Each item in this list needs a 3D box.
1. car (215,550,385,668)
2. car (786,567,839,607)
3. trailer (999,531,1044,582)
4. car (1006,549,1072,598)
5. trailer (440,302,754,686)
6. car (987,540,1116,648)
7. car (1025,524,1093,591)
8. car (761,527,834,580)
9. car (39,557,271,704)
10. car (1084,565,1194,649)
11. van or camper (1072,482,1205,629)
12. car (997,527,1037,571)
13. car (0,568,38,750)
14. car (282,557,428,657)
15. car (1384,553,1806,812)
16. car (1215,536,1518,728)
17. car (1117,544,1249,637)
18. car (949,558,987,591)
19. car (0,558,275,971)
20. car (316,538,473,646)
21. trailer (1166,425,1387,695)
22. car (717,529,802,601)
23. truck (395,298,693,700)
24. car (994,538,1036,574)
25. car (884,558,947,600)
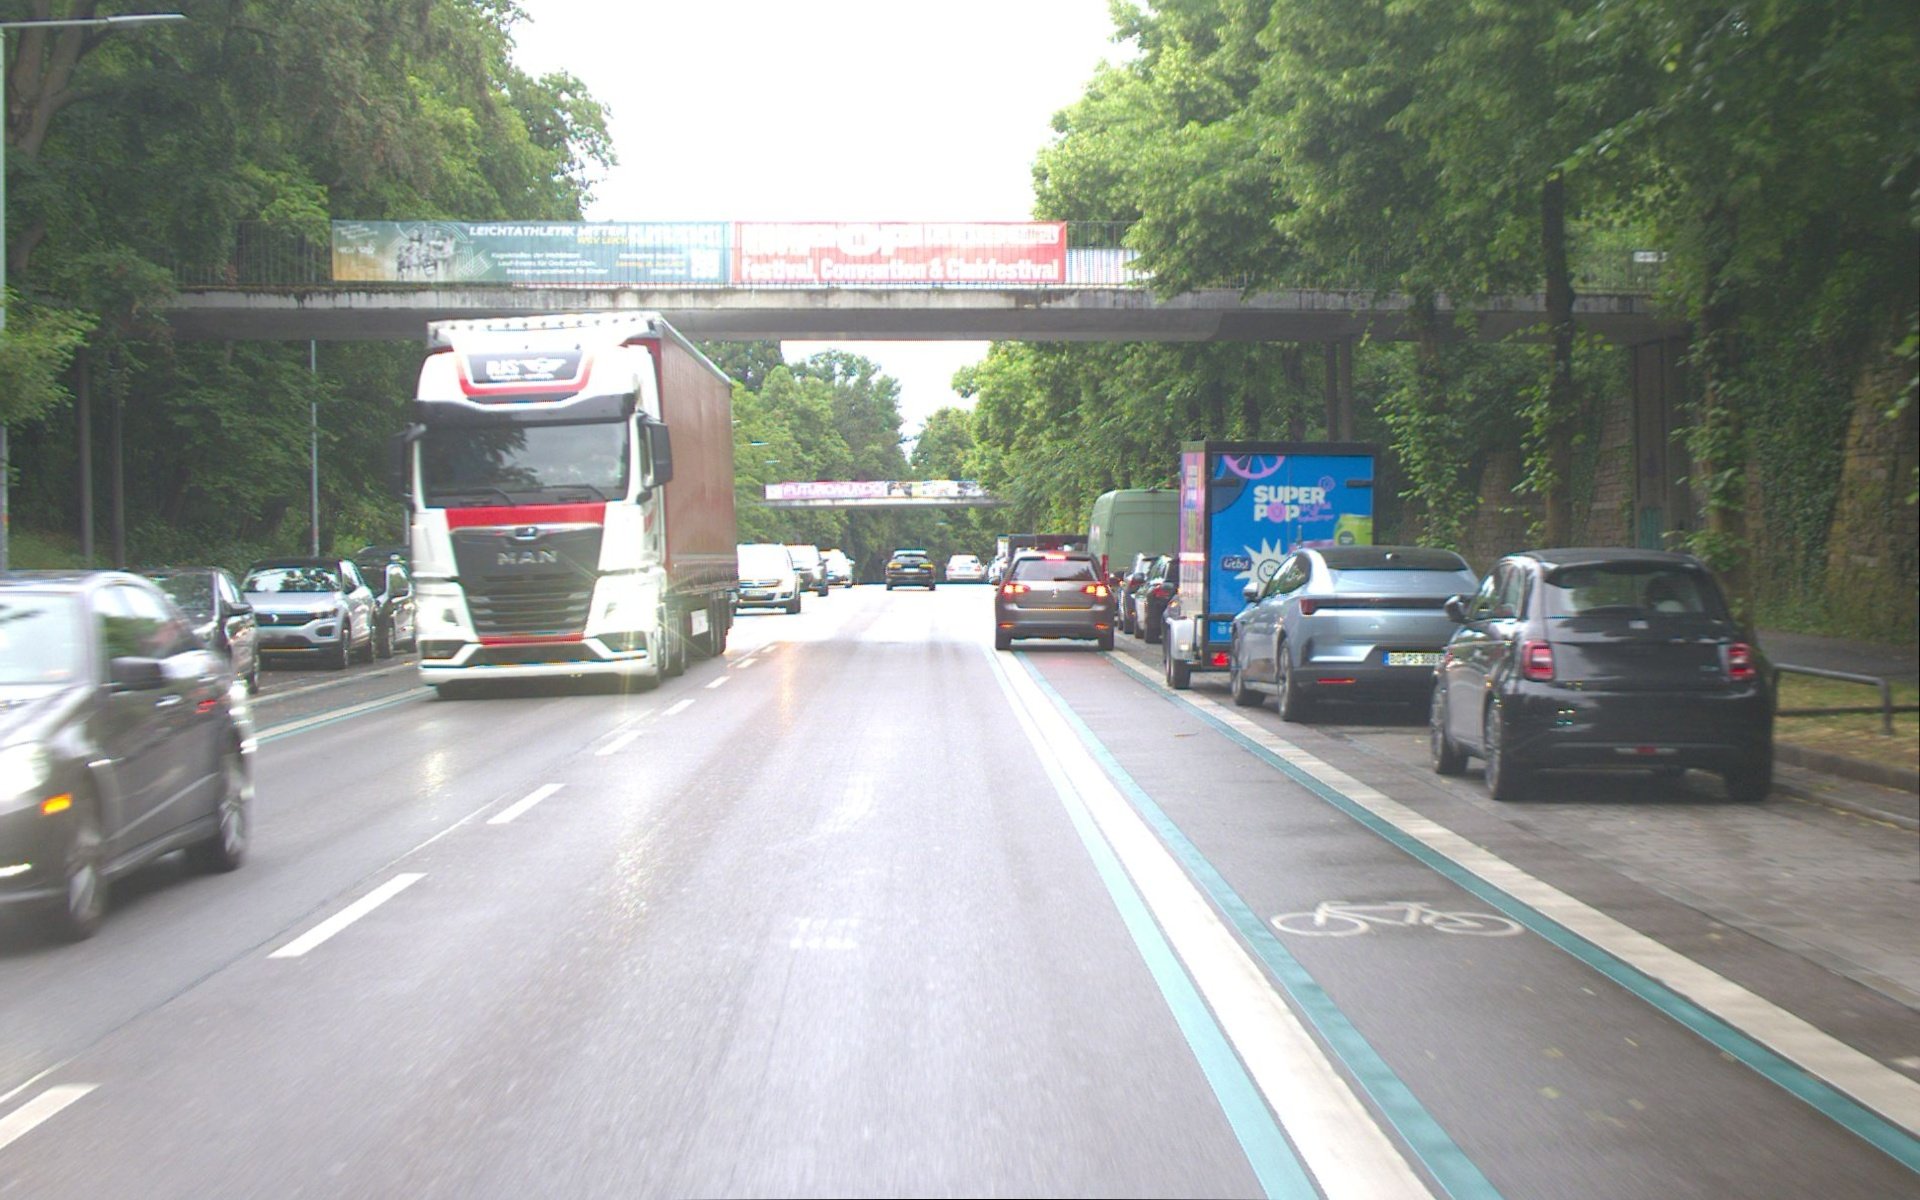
[{"bbox_3d":[-9.330,0.090,48.883,1.687,1.541,4.233,0,1,-1],"label":"car"},{"bbox_3d":[-5.890,-0.532,137.741,1.921,1.555,4.621,1,1,0],"label":"car"},{"bbox_3d":[2.672,-1.908,150.805,1.884,2.158,3.808,-1,1,0],"label":"trailer"},{"bbox_3d":[2.562,-0.880,112.544,1.789,1.537,4.890,1,1,-2],"label":"car"},{"bbox_3d":[-4.505,-1.312,45.416,2.687,4.244,12.770,-3,1,0],"label":"trailer"},{"bbox_3d":[1.317,-0.121,50.936,1.818,1.503,4.139,-1,1,0],"label":"car"},{"bbox_3d":[3.075,-1.327,107.632,1.926,2.015,4.664,1,1,0],"label":"car"},{"bbox_3d":[-5.170,-1.501,109.843,1.966,1.622,4.321,-1,1,2],"label":"car"},{"bbox_3d":[-8.846,0.294,38.098,1.831,1.472,4.041,-1,1,-3],"label":"car"},{"bbox_3d":[3.139,0.104,60.983,1.686,1.411,4.100,1,1,0],"label":"car"},{"bbox_3d":[3.469,-0.897,67.963,2.042,2.720,6.901,1,1,-1],"label":"van or camper"},{"bbox_3d":[2.778,-2.508,167.612,1.889,2.120,4.045,0,1,1],"label":"car"},{"bbox_3d":[-8.781,0.523,27.645,1.789,1.477,3.983,-1,1,-2],"label":"car"},{"bbox_3d":[-9.372,0.080,53.458,1.609,1.434,3.844,0,1,0],"label":"car"},{"bbox_3d":[3.994,0.449,22.381,1.825,1.498,4.571,0,1,-1],"label":"car"},{"bbox_3d":[3.583,0.225,31.172,1.899,1.542,4.756,1,1,-3],"label":"car"},{"bbox_3d":[3.549,-0.180,55.292,1.686,1.411,4.197,-1,1,-2],"label":"car"},{"bbox_3d":[0.384,-1.241,168.074,1.731,1.578,4.037,-1,1,-1],"label":"car"},{"bbox_3d":[-4.369,0.595,14.619,1.915,1.451,4.620,-2,1,0],"label":"car"},{"bbox_3d":[-9.611,-0.174,58.819,1.990,1.736,4.839,0,1,-1],"label":"car"},{"bbox_3d":[3.354,-0.444,37.110,1.952,2.749,4.007,0,1,-1],"label":"trailer"},{"bbox_3d":[-4.723,-0.844,81.362,1.834,1.661,4.181,0,1,-1],"label":"car"},{"bbox_3d":[-4.464,-1.077,37.793,2.517,4.032,4.916,-2,1,0],"label":"truck"},{"bbox_3d":[2.462,-2.008,155.175,1.731,1.578,4.155,-1,1,-1],"label":"car"},{"bbox_3d":[-1.629,-0.785,124.906,2.140,1.487,4.499,0,1,-2],"label":"car"}]
